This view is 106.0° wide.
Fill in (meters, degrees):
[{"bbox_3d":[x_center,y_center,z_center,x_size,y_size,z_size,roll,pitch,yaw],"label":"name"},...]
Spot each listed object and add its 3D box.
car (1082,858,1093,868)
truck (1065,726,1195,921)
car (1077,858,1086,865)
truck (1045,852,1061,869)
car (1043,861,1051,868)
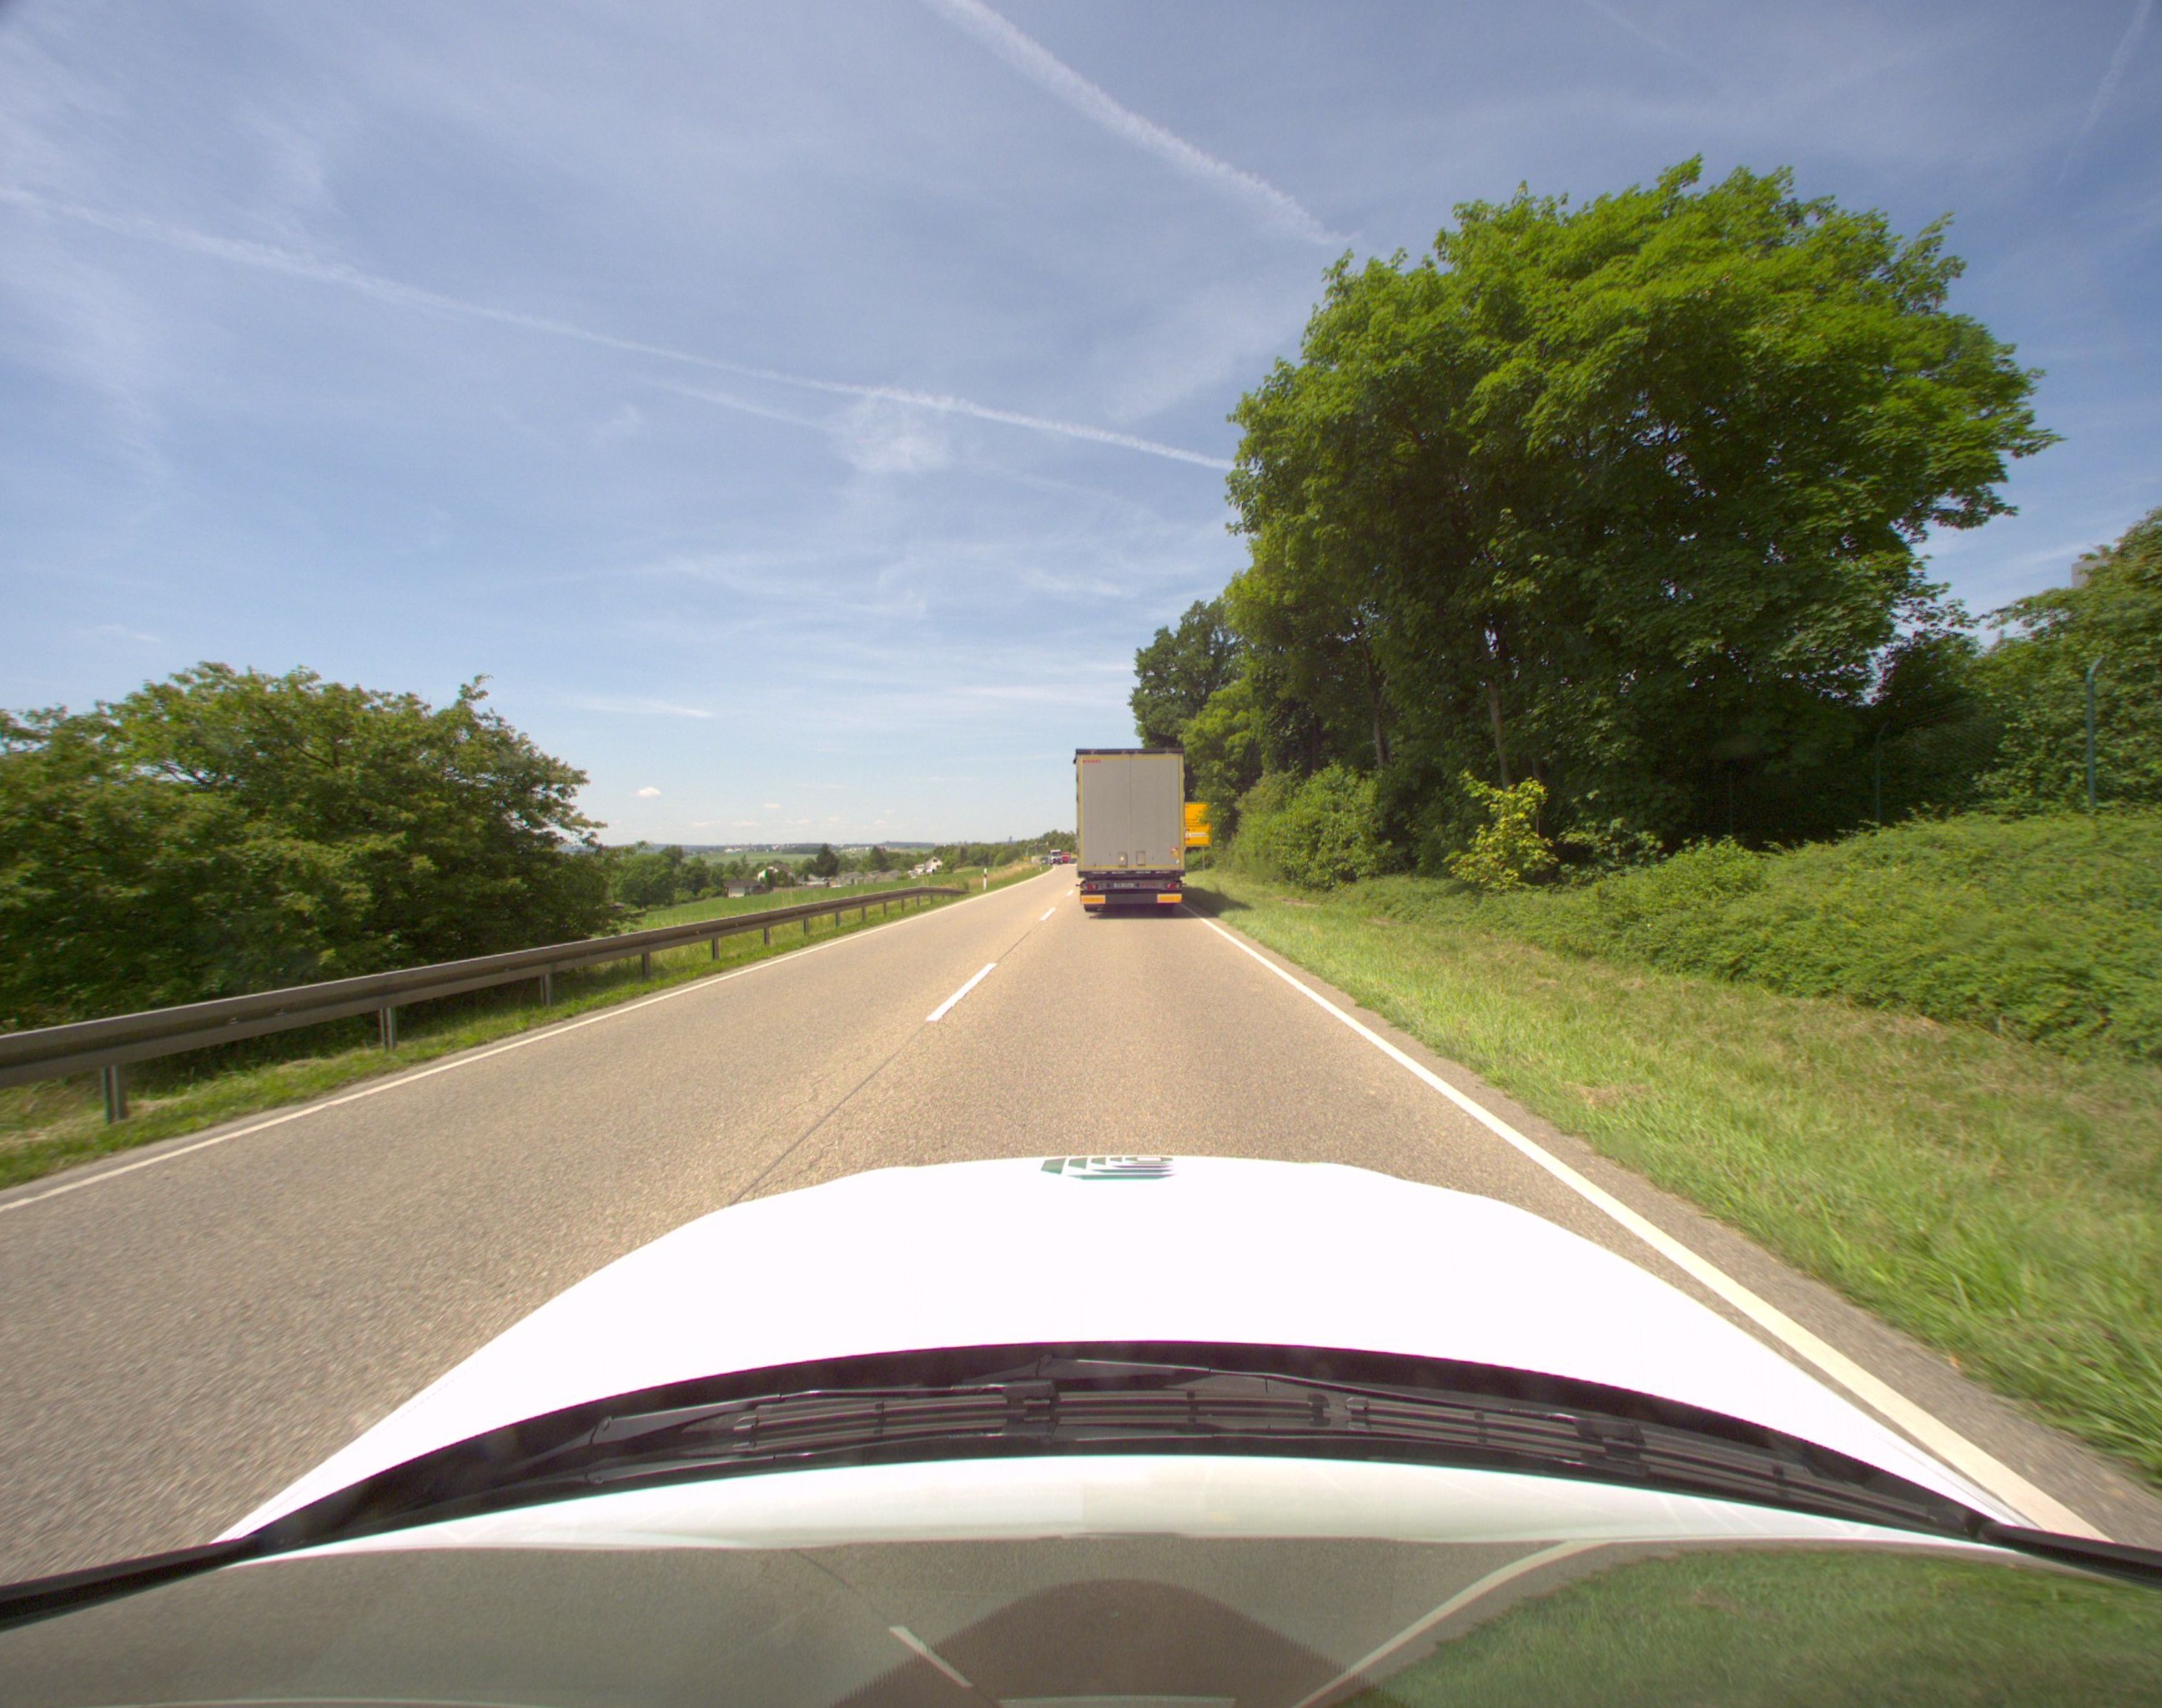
[{"bbox_3d":[1.422,2.092,188.327,2.167,2.013,4.521,-4,0,-3],"label":"car"},{"bbox_3d":[1.182,-0.690,22.972,2.897,4.410,8.860,-1,0,1],"label":"truck"},{"bbox_3d":[0.182,1.831,202.475,1.888,1.777,4.381,-4,0,-3],"label":"car"},{"bbox_3d":[-6.251,1.522,180.118,2.752,3.576,11.044,-4,-1,-5],"label":"truck"},{"bbox_3d":[-10.221,3.153,241.708,1.991,1.950,4.494,-4,0,-5],"label":"car"}]
